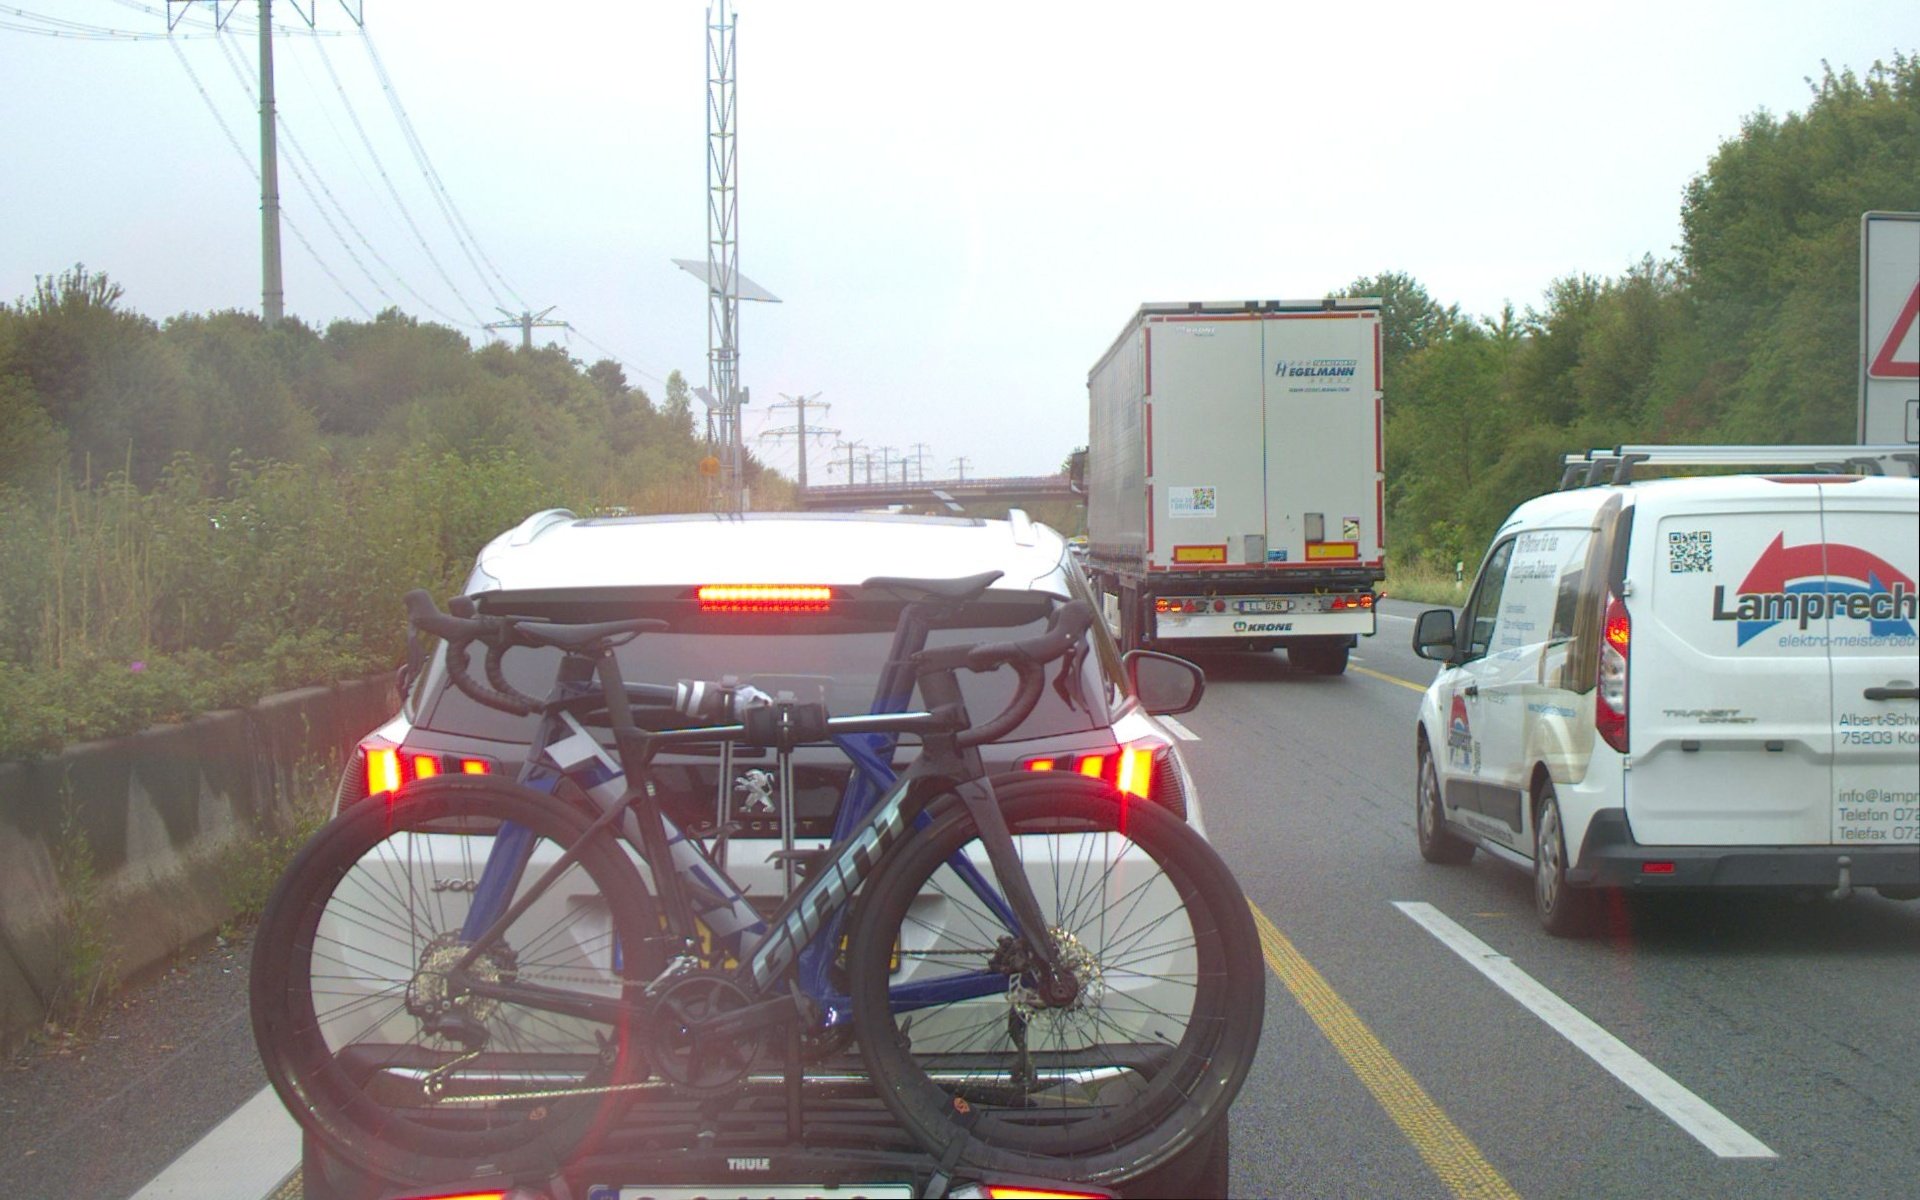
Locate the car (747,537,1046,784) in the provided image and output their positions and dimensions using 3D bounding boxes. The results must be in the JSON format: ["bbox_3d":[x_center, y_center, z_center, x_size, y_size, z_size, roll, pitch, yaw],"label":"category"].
[{"bbox_3d":[-0.416,0.337,23.317,1.850,1.525,4.000,0,1,-1],"label":"car"}]

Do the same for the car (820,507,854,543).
[{"bbox_3d":[-8.484,-5.175,237.781,2.257,2.416,4.001,0,2,-1],"label":"car"}]

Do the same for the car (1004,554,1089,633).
[{"bbox_3d":[2.285,-0.196,91.596,2.110,1.966,4.001,0,2,-1],"label":"car"}]

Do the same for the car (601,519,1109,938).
[{"bbox_3d":[-0.405,0.432,14.538,1.850,1.525,4.000,0,1,-1],"label":"car"}]

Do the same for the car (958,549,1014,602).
[{"bbox_3d":[1.017,-0.974,135.699,2.148,1.966,4.001,0,2,-1],"label":"car"}]

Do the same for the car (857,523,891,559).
[{"bbox_3d":[-4.941,-3.402,198.219,1.931,1.966,4.001,0,2,-1],"label":"car"}]

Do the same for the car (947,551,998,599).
[{"bbox_3d":[0.525,-1.118,149.542,2.148,1.966,4.001,0,2,-1],"label":"car"}]

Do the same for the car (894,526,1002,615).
[{"bbox_3d":[-0.231,-0.544,61.191,1.850,1.525,4.000,0,1,-1],"label":"car"}]

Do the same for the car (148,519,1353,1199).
[{"bbox_3d":[-0.349,0.596,7.678,1.850,1.525,4.769,0,1,-1],"label":"car"}]

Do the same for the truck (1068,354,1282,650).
[{"bbox_3d":[3.052,-1.405,50.467,2.660,4.062,6.539,0,1,-1],"label":"truck"}]

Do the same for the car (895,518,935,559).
[{"bbox_3d":[-2.236,-3.098,171.305,1.931,1.966,4.001,0,2,-1],"label":"car"}]

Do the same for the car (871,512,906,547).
[{"bbox_3d":[-3.958,-3.926,191.266,1.931,1.904,4.001,0,2,-1],"label":"car"}]

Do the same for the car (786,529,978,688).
[{"bbox_3d":[-0.774,0.041,35.066,1.850,1.525,4.000,0,1,-1],"label":"car"}]

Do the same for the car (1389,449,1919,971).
[{"bbox_3d":[3.034,0.344,14.405,1.829,1.833,4.656,0,1,-1],"label":"car"}]

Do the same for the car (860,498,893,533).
[{"bbox_3d":[-4.942,-5.022,203.908,1.931,1.966,4.001,0,2,-1],"label":"car"}]

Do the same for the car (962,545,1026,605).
[{"bbox_3d":[1.184,-0.890,120.925,2.148,1.966,4.001,0,2,-1],"label":"car"}]

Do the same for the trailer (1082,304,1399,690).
[{"bbox_3d":[3.192,-1.211,43.019,2.692,4.062,13.634,0,1,-1],"label":"trailer"}]
